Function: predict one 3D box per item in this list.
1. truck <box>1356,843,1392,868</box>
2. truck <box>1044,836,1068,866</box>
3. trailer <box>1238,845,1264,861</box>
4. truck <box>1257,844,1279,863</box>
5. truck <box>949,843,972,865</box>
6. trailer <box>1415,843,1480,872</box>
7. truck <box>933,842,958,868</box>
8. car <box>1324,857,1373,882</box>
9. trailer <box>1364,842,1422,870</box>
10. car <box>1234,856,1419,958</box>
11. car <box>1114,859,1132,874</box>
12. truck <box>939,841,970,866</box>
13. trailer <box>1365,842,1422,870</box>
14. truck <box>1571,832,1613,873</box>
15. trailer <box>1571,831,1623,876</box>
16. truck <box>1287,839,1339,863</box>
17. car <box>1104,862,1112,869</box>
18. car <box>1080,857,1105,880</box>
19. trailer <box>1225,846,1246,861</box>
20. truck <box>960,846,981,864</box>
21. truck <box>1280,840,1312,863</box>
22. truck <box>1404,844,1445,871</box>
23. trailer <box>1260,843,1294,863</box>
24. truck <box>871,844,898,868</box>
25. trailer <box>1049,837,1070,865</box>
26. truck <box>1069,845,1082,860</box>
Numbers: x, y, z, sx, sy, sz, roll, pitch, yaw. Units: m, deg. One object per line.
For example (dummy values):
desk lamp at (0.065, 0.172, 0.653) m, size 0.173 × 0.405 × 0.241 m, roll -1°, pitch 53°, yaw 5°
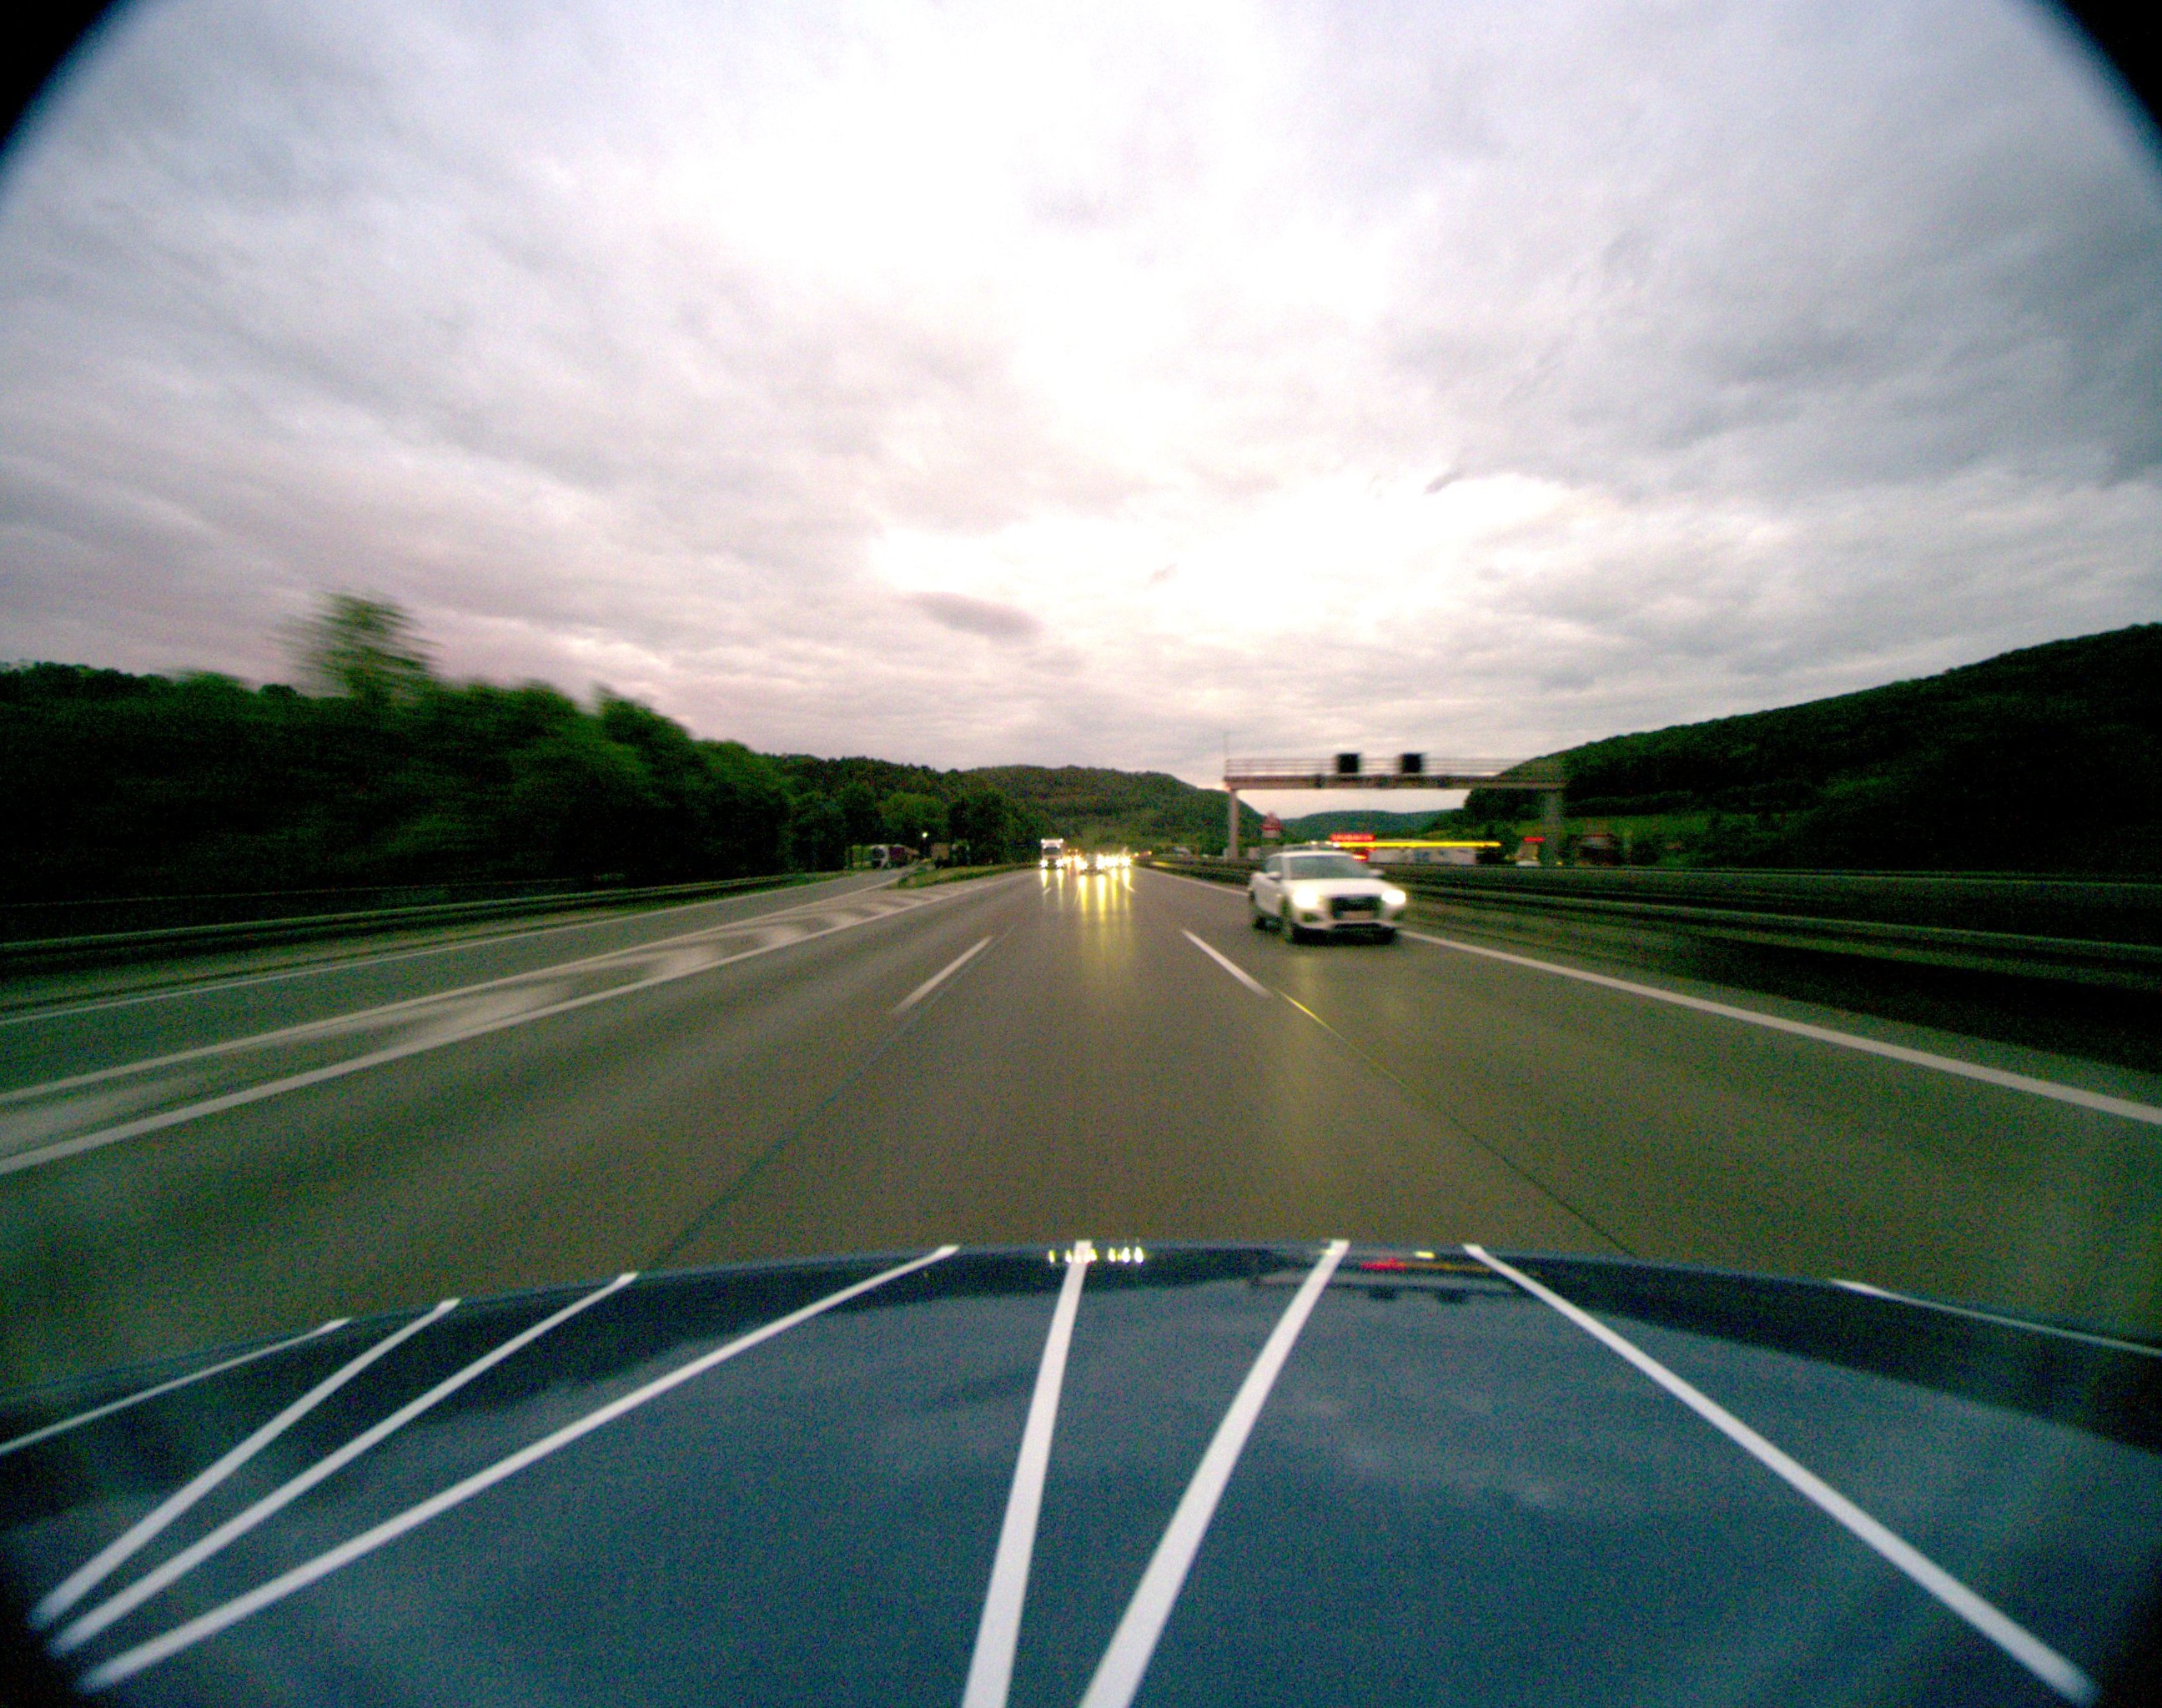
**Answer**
truck at (50.375, 0.267, 130.911) m, size 3.025 × 4.234 × 8.865 m, roll -1°, pitch 0°, yaw 2°
truck at (-3.209, -0.395, 100.650) m, size 2.623 × 3.805 × 10.386 m, roll -1°, pitch 0°, yaw 1°
trailer at (36.618, -0.192, 164.432) m, size 2.880 × 3.404 × 13.572 m, roll -1°, pitch 0°, yaw 2°
truck at (36.016, -0.118, 146.427) m, size 2.880 × 3.404 × 6.727 m, roll -1°, pitch 0°, yaw 2°
truck at (-23.911, -0.073, 151.049) m, size 3.783 × 4.204 × 8.812 m, roll 0°, pitch 0°, yaw -4°
trailer at (49.490, 0.476, 103.200) m, size 2.880 × 3.657 × 12.718 m, roll -1°, pitch 0°, yaw 2°
truck at (-21.565, 0.104, 121.404) m, size 2.847 × 3.893 × 11.982 m, roll 0°, pitch 0°, yaw -6°
car at (18.115, 1.016, 51.619) m, size 1.733 × 1.577 × 4.645 m, roll -1°, pitch 0°, yaw 1°
trailer at (50.142, 0.279, 122.841) m, size 3.025 × 4.234 × 15.948 m, roll -1°, pitch 0°, yaw 2°
car at (4.248, 0.818, 14.110) m, size 1.794 × 1.492 × 5.037 m, roll -2°, pitch 0°, yaw 0°
car at (5.150, 1.524, 94.262) m, size 1.894 × 1.650 × 5.639 m, roll -2°, pitch 0°, yaw 0°
truck at (-23.269, -0.065, 141.215) m, size 3.785 × 4.204 × 19.519 m, roll 0°, pitch 0°, yaw -4°
trailer at (50.193, 0.278, 122.840) m, size 3.025 × 4.234 × 15.948 m, roll -1°, pitch 0°, yaw 2°
truck at (49.319, -0.157, 73.514) m, size 3.006 × 3.657 × 7.693 m, roll -1°, pitch 0°, yaw 32°
trailer at (45.726, -0.063, 67.652) m, size 3.063 × 3.657 × 13.369 m, roll -1°, pitch 0°, yaw 31°
truck at (34.870, -0.403, 115.077) m, size 2.881 × 3.404 × 13.786 m, roll -1°, pitch 0°, yaw -3°
car at (6.307, 2.640, 178.835) m, size 1.898 × 1.503 × 4.000 m, roll -1°, pitch 0°, yaw 0°
car at (0.927, 1.150, 61.570) m, size 1.927 × 1.674 × 4.806 m, roll 0°, pitch 0°, yaw 0°
trailer at (37.313, -0.162, 183.977) m, size 2.880 × 3.404 × 13.226 m, roll -1°, pitch 0°, yaw 2°
truck at (-24.018, 0.215, 166.314) m, size 3.362 × 3.893 × 11.986 m, roll 0°, pitch 0°, yaw -3°
truck at (34.503, -0.368, 122.190) m, size 2.881 × 3.404 × 6.724 m, roll -1°, pitch 0°, yaw -3°
truck at (49.720, 0.508, 110.067) m, size 2.880 × 3.618 × 7.029 m, roll -1°, pitch 0°, yaw 2°
trailer at (35.774, -0.142, 139.370) m, size 2.880 × 3.404 × 13.852 m, roll -1°, pitch 0°, yaw 2°
truck at (-32.745, 0.328, 126.913) m, size 2.846 × 3.893 × 6.383 m, roll 0°, pitch 0°, yaw -1°
trailer at (-3.088, -0.424, 110.298) m, size 2.623 × 3.805 × 8.877 m, roll -1°, pitch 0°, yaw 1°
truck at (-1.492, -0.405, 201.139) m, size 3.120 × 3.850 × 14.161 m, roll 2°, pitch 0°, yaw 0°
